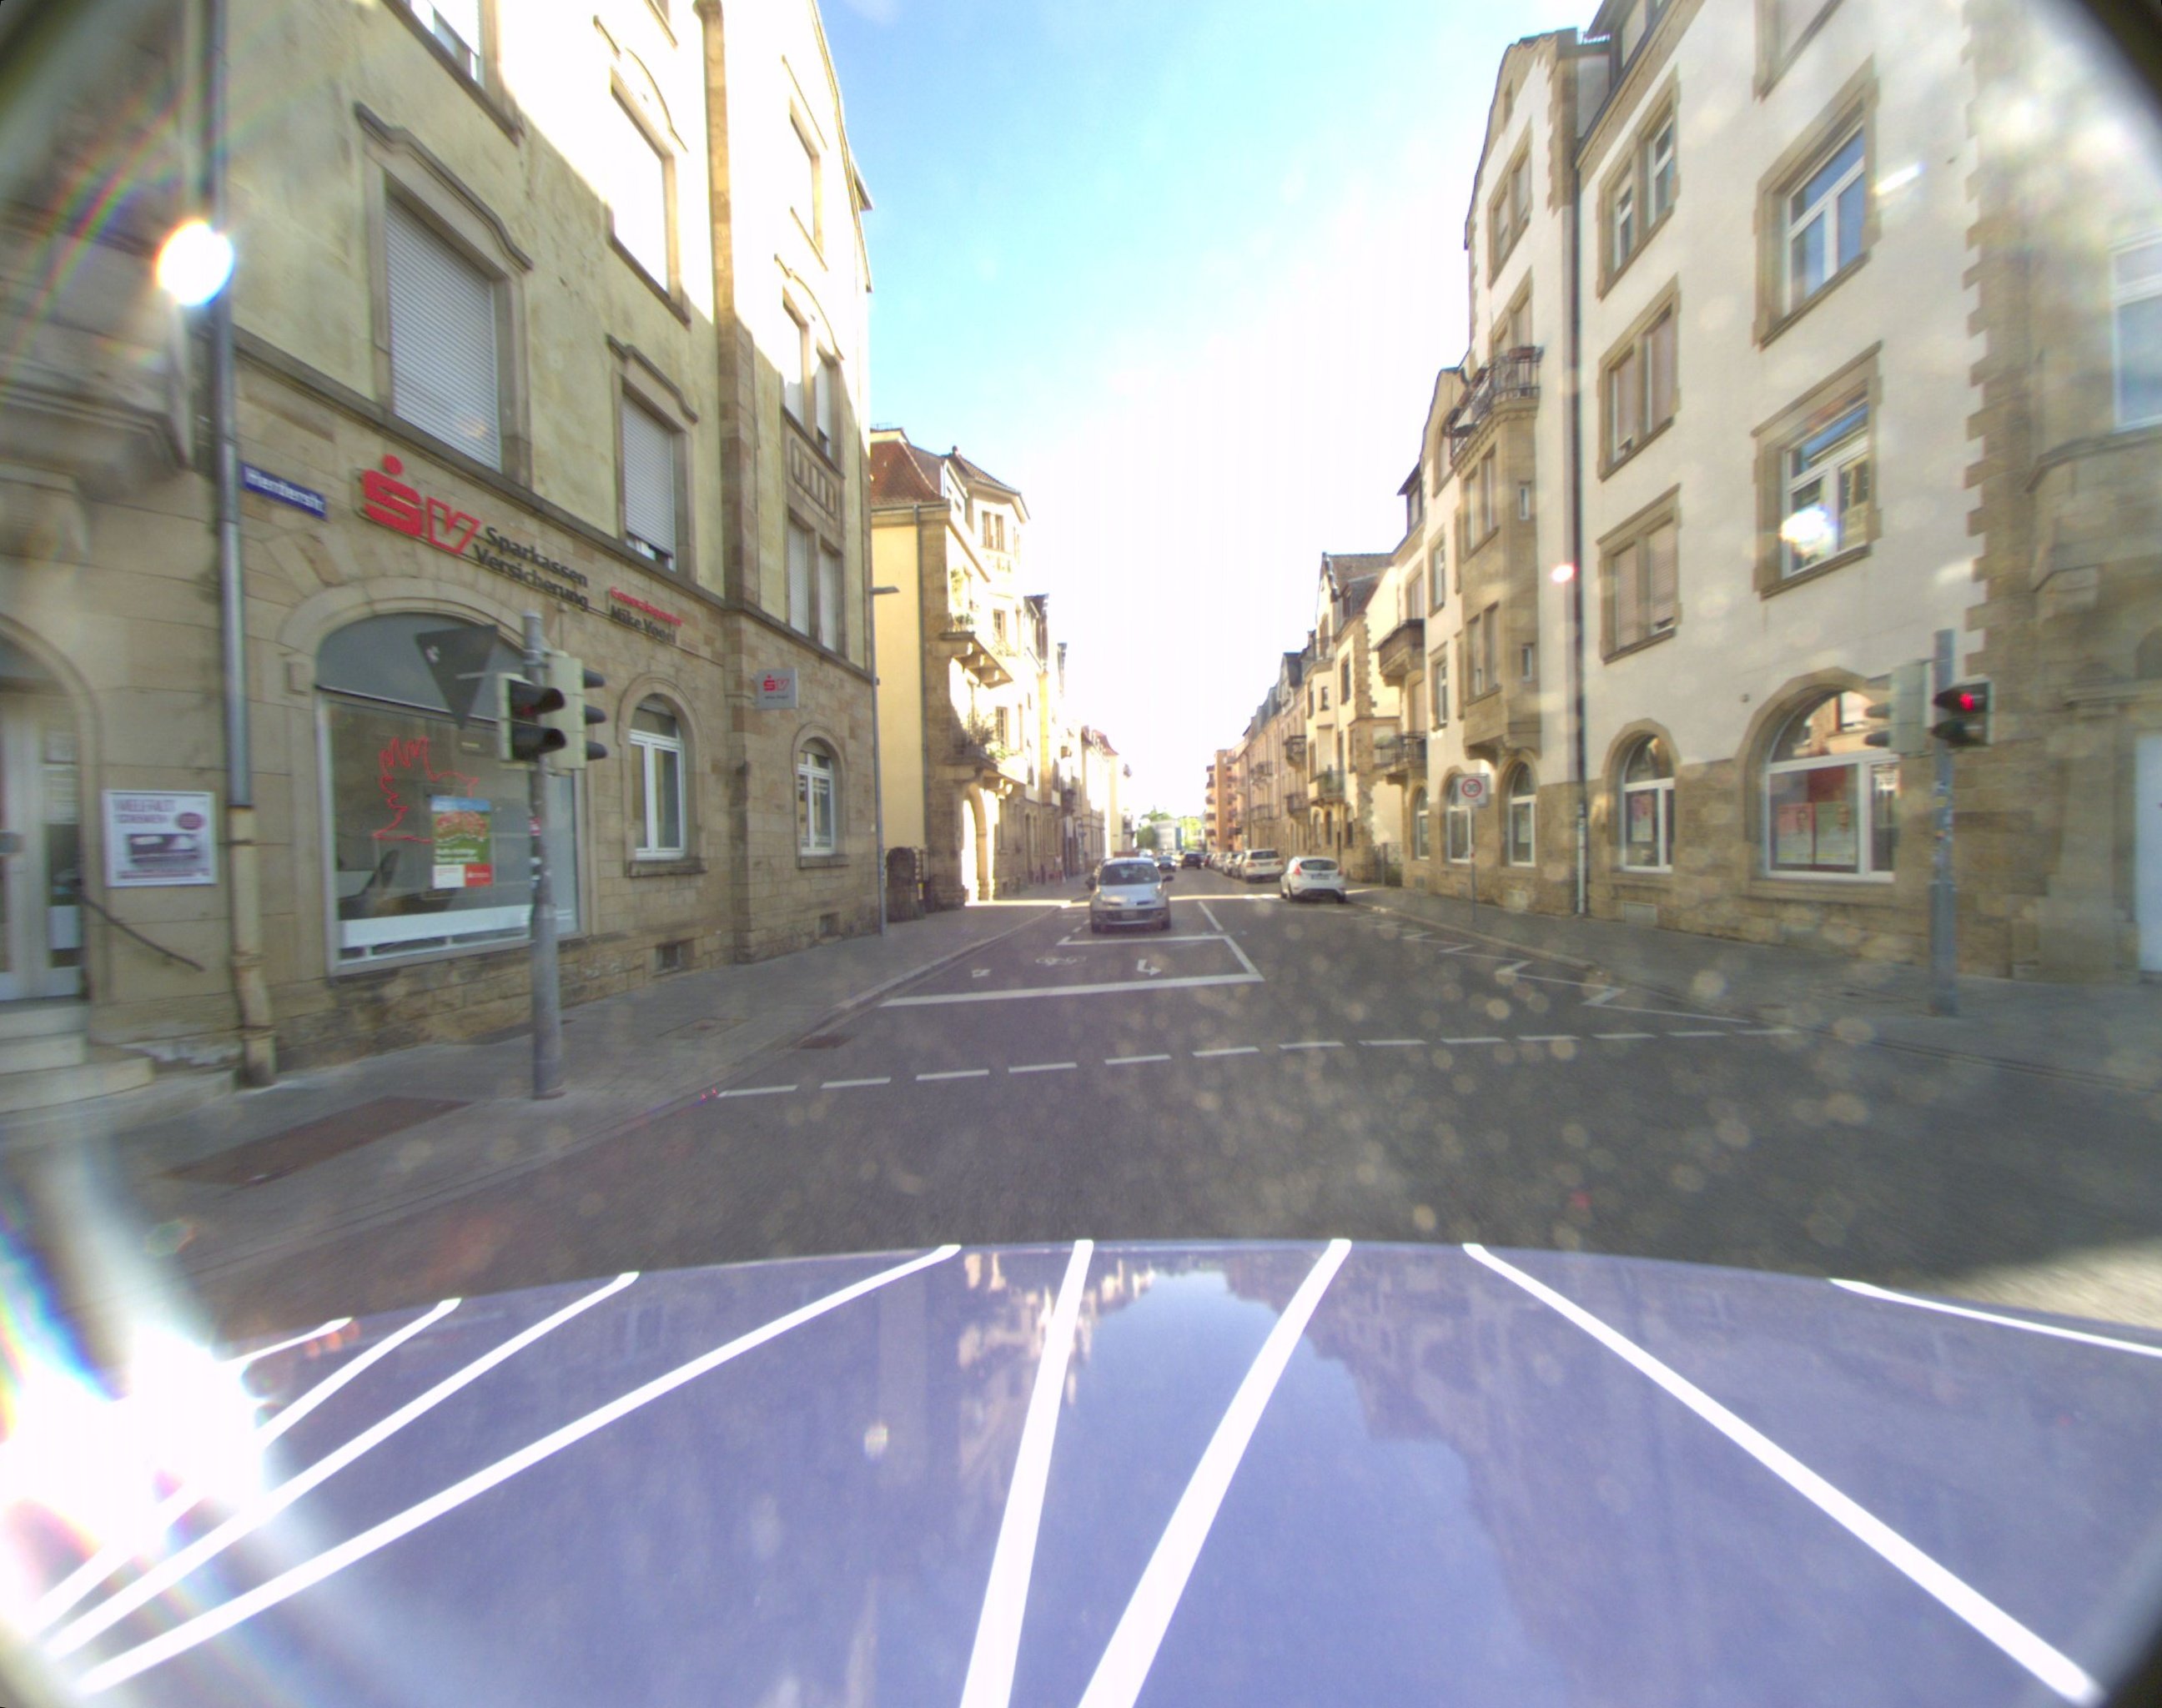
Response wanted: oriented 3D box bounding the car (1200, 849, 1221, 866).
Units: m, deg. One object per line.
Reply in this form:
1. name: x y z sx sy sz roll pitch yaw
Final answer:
1. car: 13.893 0.346 81.569 1.916 1.614 4.348 -5 0 7

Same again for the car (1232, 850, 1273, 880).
1. car: 10.143 0.624 45.332 1.916 1.509 4.348 -5 0 8

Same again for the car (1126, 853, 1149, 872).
1. car: 5.043 0.745 67.317 1.832 1.586 3.821 -4 0 5

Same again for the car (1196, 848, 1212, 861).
1. car: 17.765 0.089 109.839 1.916 1.614 4.348 -5 0 6

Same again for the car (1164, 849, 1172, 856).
1. car: 22.121 -0.354 193.649 1.876 1.657 4.002 -3 1 8

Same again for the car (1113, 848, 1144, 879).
1. car: 3.453 0.675 54.718 1.832 2.022 3.822 -4 0 7

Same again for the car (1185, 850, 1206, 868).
1. car: 11.305 0.494 74.955 1.916 1.718 4.349 -1 0 9

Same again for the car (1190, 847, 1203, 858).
1. car: 19.130 -0.267 126.111 1.916 1.614 4.348 -5 0 6

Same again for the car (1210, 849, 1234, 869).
1. car: 13.177 0.427 71.242 1.916 1.614 4.348 -5 0 8

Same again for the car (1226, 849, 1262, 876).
1. car: 10.939 0.553 51.139 1.916 1.509 4.348 -5 0 8

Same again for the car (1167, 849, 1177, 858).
1. car: 18.734 -0.032 156.400 1.876 1.657 4.002 -3 1 8

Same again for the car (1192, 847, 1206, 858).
1. car: 18.662 -0.218 120.380 1.916 1.614 4.348 -5 0 6

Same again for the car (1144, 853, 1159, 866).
1. car: 10.521 0.804 112.813 1.876 1.657 4.002 -3 1 8

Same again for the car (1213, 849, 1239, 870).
1. car: 12.338 0.415 64.863 1.916 1.509 4.348 -5 0 8

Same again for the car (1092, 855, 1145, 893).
1. car: 1.779 0.862 34.838 1.997 1.528 4.002 -4 0 8

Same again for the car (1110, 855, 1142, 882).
1. car: 3.017 0.917 50.265 1.832 1.586 3.821 -4 0 5

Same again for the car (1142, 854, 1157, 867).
1. car: 9.741 0.872 107.861 1.876 1.657 4.002 -3 1 8

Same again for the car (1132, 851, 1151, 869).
1. car: 6.357 0.618 79.608 1.832 1.648 3.821 -4 0 5

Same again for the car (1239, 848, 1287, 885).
1. car: 9.374 0.594 39.468 1.916 1.649 4.348 -5 0 8

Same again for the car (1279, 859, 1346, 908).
1. car: 7.427 0.892 24.623 1.555 1.403 3.573 1 0 9

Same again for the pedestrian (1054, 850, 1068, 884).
1. pedestrian: -1.003 0.657 38.333 0.578 1.712 0.698 0 1 8

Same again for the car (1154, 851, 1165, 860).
1. car: 14.762 0.278 142.370 1.876 1.657 4.002 -3 1 8

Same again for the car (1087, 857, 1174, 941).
1. car: 1.110 0.913 17.049 1.651 1.559 3.617 -4 0 4

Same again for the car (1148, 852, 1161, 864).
1. car: 11.549 0.569 119.008 1.876 1.657 4.002 -3 1 8

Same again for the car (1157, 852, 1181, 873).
1. car: 7.761 0.742 66.687 1.876 1.657 4.002 -3 1 8
